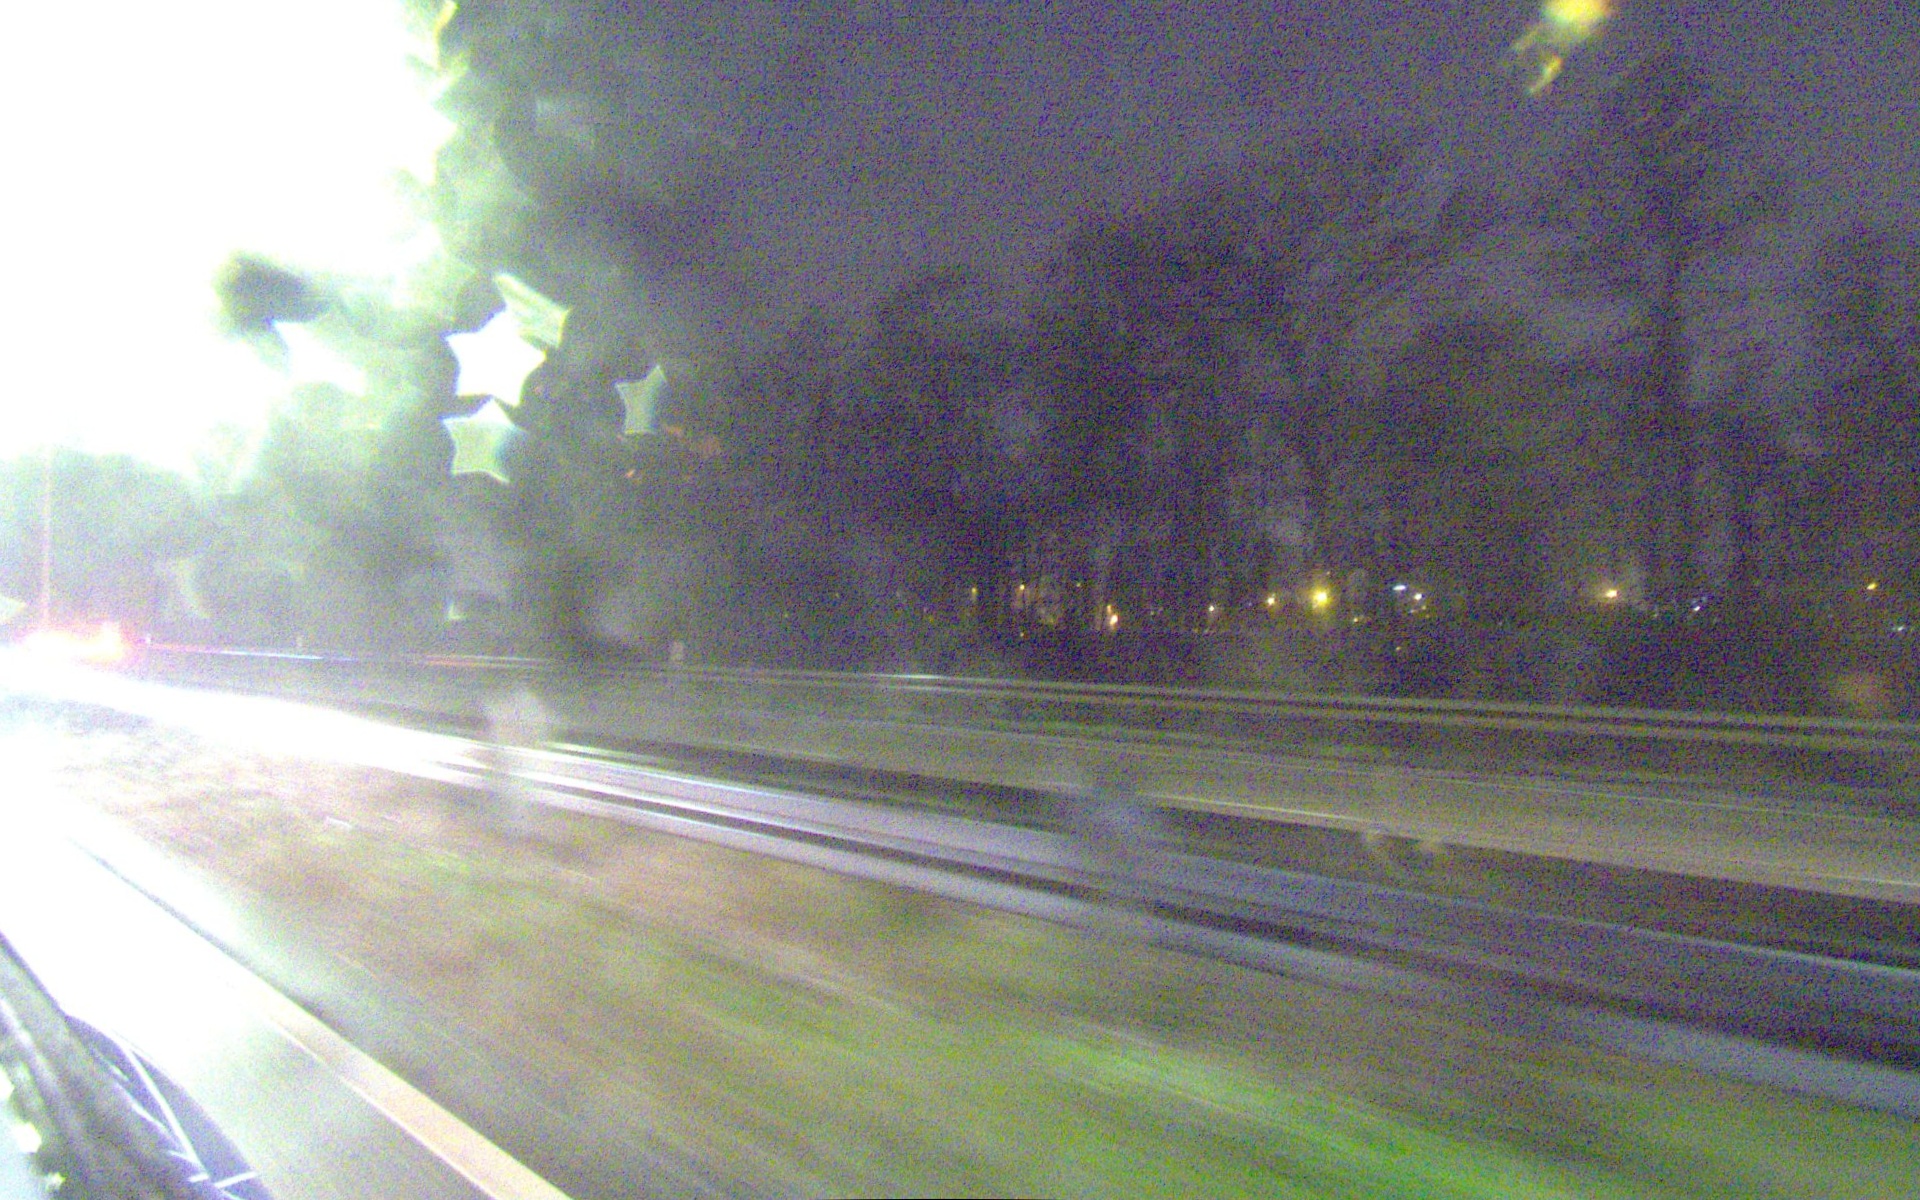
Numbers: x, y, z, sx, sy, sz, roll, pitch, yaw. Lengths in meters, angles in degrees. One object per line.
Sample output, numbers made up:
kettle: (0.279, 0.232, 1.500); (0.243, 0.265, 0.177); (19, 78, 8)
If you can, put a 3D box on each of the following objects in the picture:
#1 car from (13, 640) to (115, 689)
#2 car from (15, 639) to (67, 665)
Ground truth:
car: (-30.066, 2.112, 33.926); (4.774, 1.487, 1.837); (-2, -2, 40)
car: (-51.248, 2.916, 56.408); (4.161, 1.392, 1.594); (-2, -4, 41)
